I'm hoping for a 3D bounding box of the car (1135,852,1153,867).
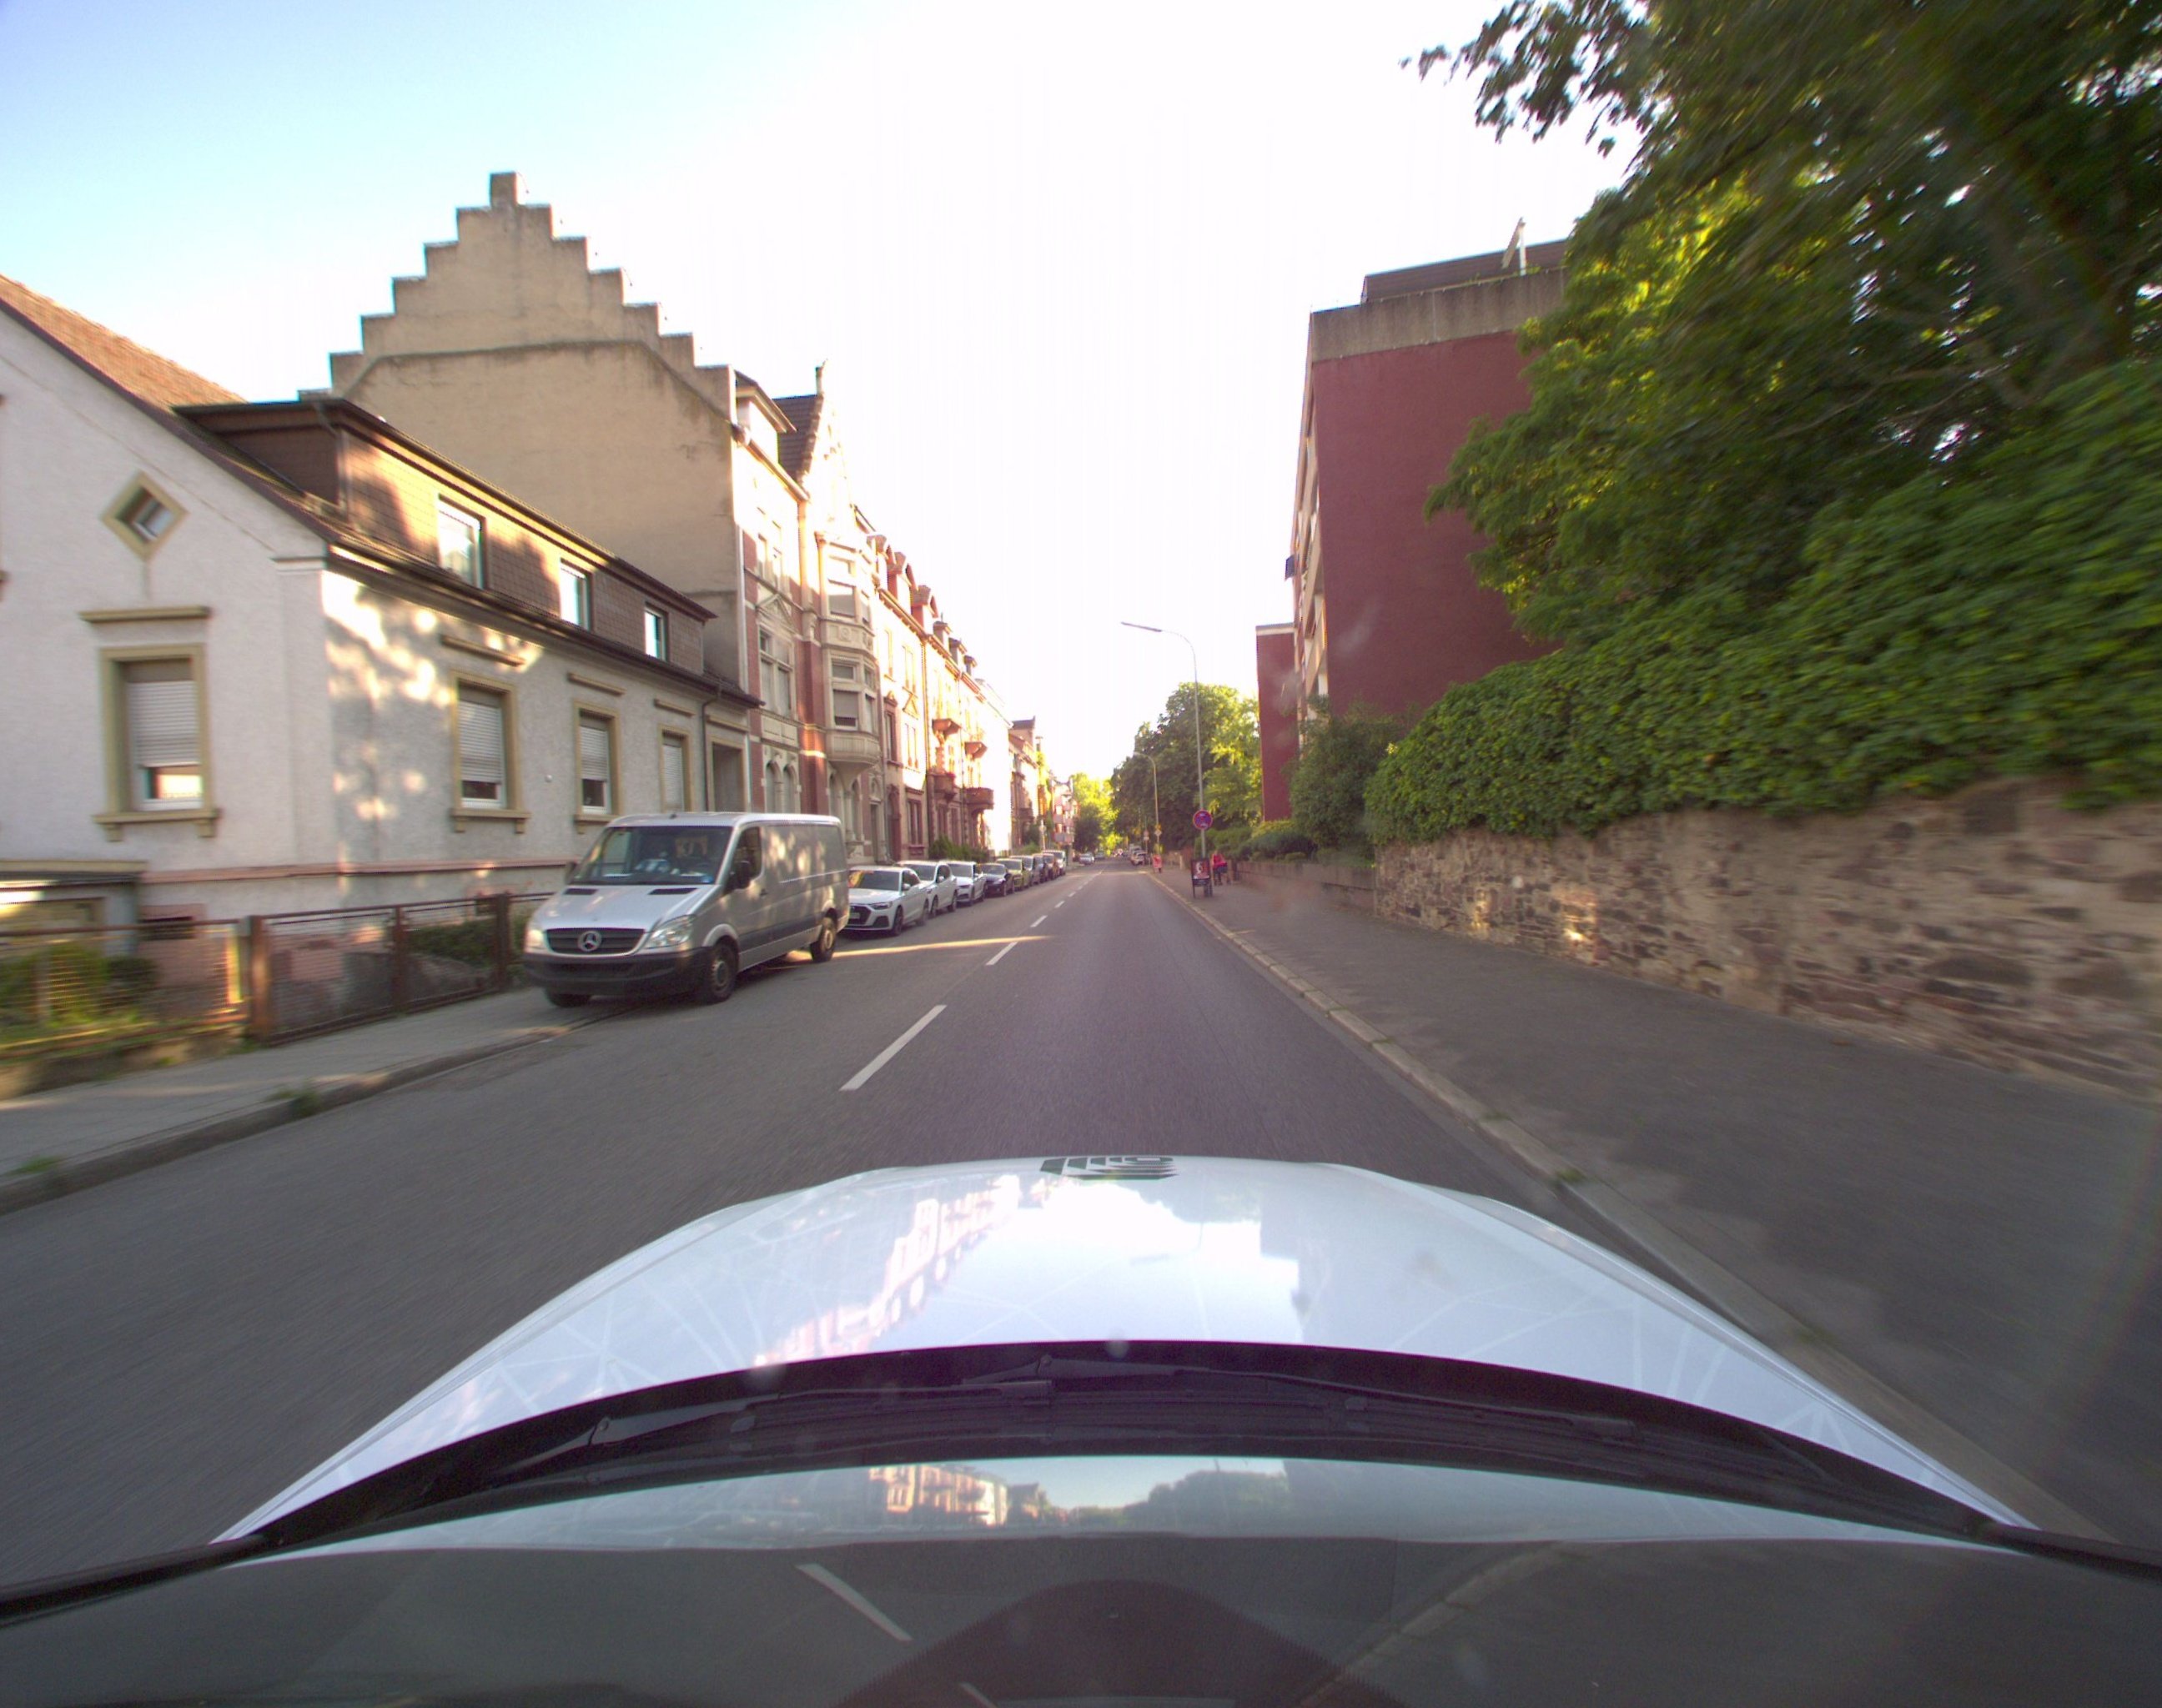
[{"bbox_3d":[7.170,0.654,92.754,1.984,1.517,4.005,-3,1,4],"label":"car"}]

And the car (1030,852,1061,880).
[{"bbox_3d":[-2.320,0.759,53.769,1.696,1.738,3.858,-1,0,2],"label":"car"}]

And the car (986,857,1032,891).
[{"bbox_3d":[-3.366,0.948,38.646,1.696,1.503,4.073,-1,-1,2],"label":"car"}]

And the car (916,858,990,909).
[{"bbox_3d":[-4.353,0.954,28.354,1.696,1.536,4.551,-1,0,2],"label":"car"}]

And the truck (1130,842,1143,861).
[{"bbox_3d":[9.137,-0.441,134.178,1.986,2.896,4.473,-3,1,2],"label":"truck"}]

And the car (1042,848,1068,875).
[{"bbox_3d":[-2.023,0.577,64.619,1.786,2.010,4.699,-1,0,2],"label":"car"}]

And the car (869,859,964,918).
[{"bbox_3d":[-4.635,0.920,23.464,1.695,1.503,4.024,-1,0,3],"label":"car"}]

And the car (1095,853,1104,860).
[{"bbox_3d":[4.466,0.630,192.276,1.985,1.491,4.474,-3,1,3],"label":"car"}]

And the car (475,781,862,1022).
[{"bbox_3d":[-5.080,0.477,11.427,2.059,2.460,6.019,-1,0,3],"label":"car"}]

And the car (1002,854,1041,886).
[{"bbox_3d":[-3.137,0.826,43.655,1.696,1.584,3.636,-1,0,2],"label":"car"}]

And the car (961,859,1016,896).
[{"bbox_3d":[-3.751,0.944,33.575,1.696,1.366,3.861,-1,0,2],"label":"car"}]

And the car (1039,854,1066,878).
[{"bbox_3d":[-2.065,0.830,59.416,1.696,1.619,4.119,-1,0,2],"label":"car"}]

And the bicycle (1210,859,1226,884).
[{"bbox_3d":[5.493,0.690,32.663,0.564,0.970,0.492,-1,1,1],"label":"bicycle"}]

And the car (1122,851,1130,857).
[{"bbox_3d":[12.666,0.118,228.987,1.987,1.491,4.470,-3,1,0],"label":"car"}]

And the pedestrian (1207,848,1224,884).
[{"bbox_3d":[5.495,0.486,33.260,0.595,1.403,0.668,-1,1,1],"label":"pedestrian"}]

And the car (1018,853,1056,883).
[{"bbox_3d":[-2.561,0.790,48.539,1.695,1.707,4.445,-1,0,3],"label":"car"}]

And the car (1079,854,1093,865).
[{"bbox_3d":[0.786,0.839,125.739,1.985,1.491,4.474,-3,1,3],"label":"car"}]

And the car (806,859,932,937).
[{"bbox_3d":[-4.583,0.889,18.205,1.696,1.503,3.825,-1,0,2],"label":"car"}]
